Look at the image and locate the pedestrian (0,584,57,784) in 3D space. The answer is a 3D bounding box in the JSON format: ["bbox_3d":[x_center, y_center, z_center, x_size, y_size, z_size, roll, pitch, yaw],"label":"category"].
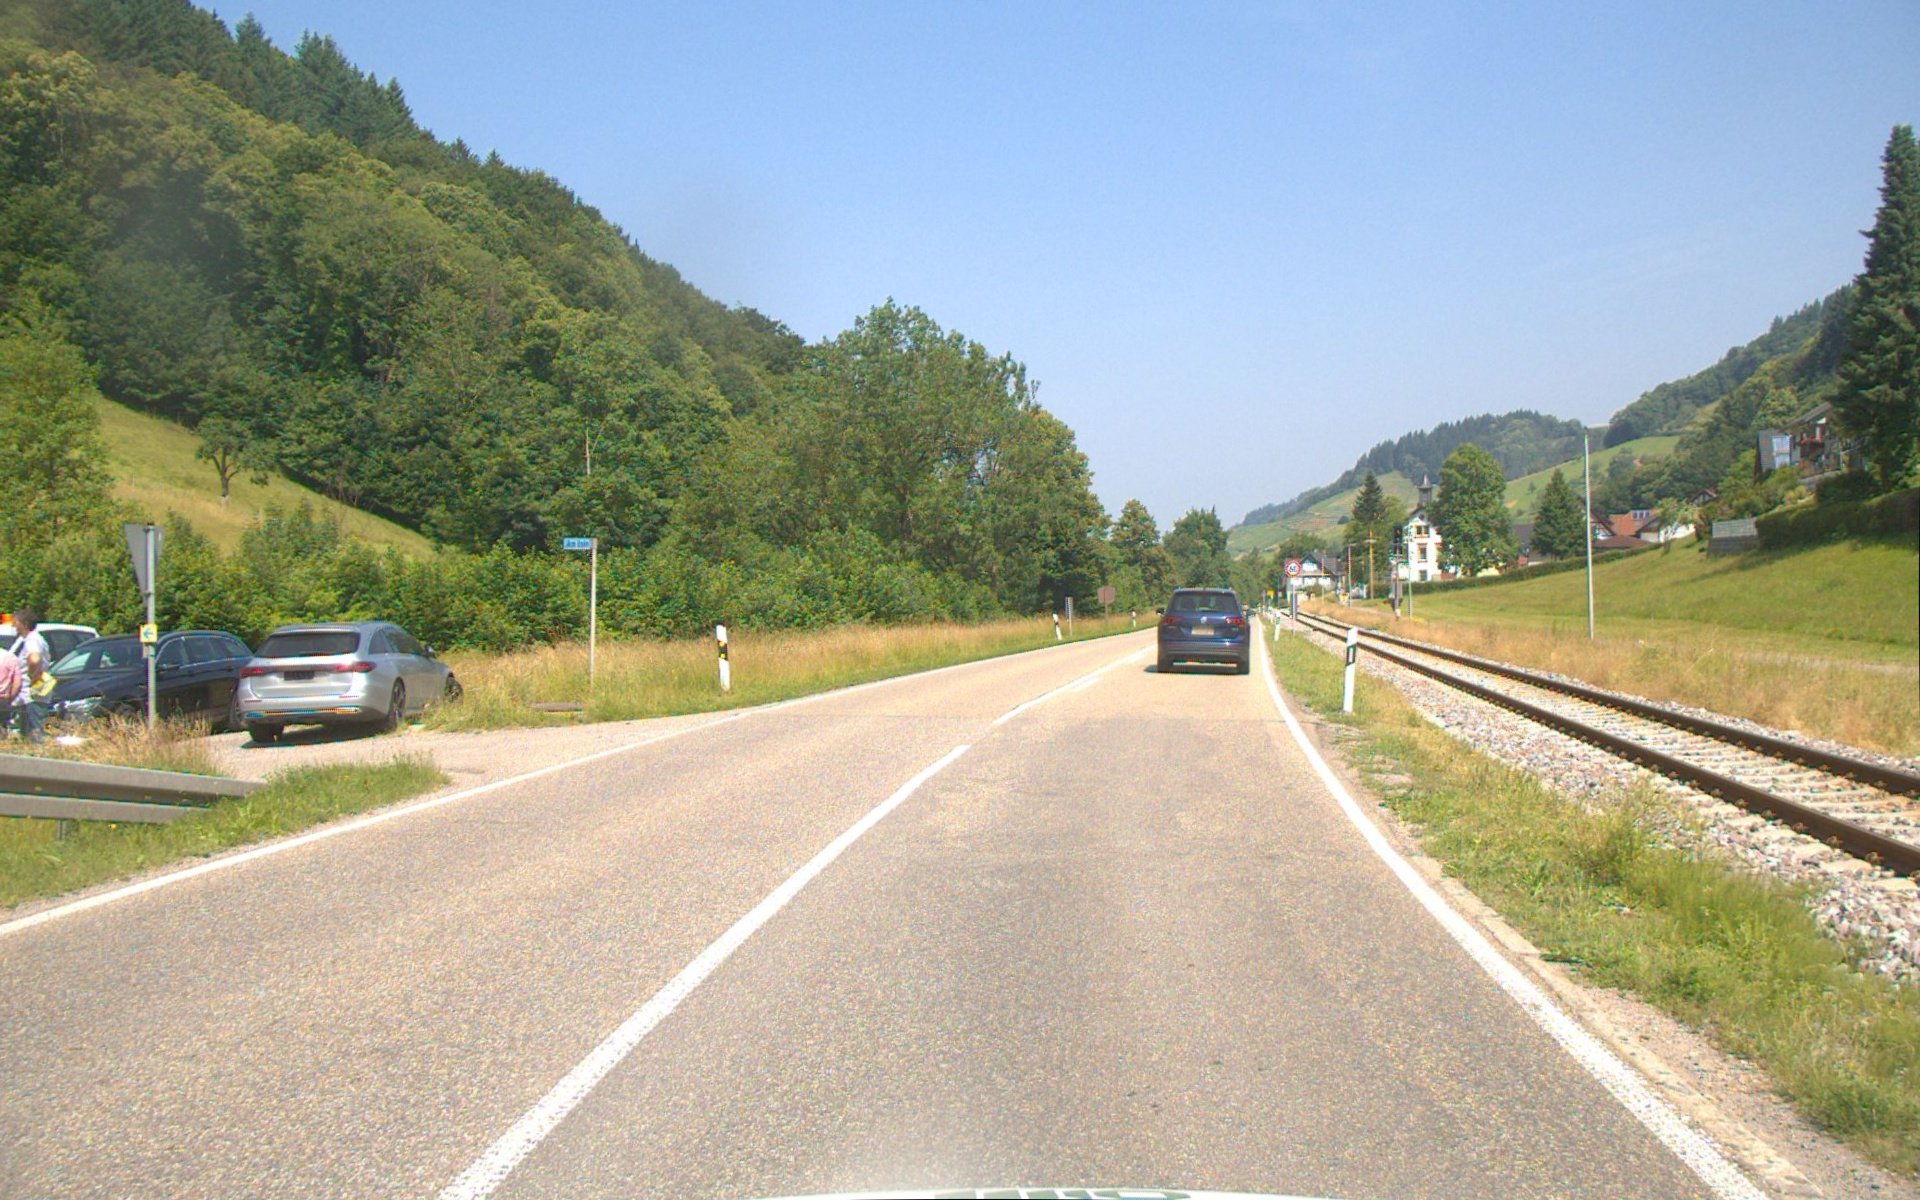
[{"bbox_3d":[-9.721,0.857,16.896,0.648,1.989,0.531,-3,0,-11],"label":"pedestrian"}]

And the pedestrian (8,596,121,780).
[{"bbox_3d":[-9.516,0.927,17.585,0.635,1.891,0.769,-4,-1,33],"label":"pedestrian"}]

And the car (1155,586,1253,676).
[{"bbox_3d":[4.841,0.605,33.108,1.813,1.678,4.143,0,-1,7],"label":"car"}]

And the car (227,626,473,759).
[{"bbox_3d":[-8.177,1.179,22.604,1.789,1.527,4.276,-3,-1,-2],"label":"car"}]

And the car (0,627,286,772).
[{"bbox_3d":[-11.379,1.284,22.517,1.951,1.680,4.625,-4,-1,8],"label":"car"}]

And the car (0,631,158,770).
[{"bbox_3d":[-13.717,1.418,23.772,1.832,1.813,4.773,-2,-1,3],"label":"car"}]

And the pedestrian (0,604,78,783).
[{"bbox_3d":[-10.158,1.002,17.929,0.635,1.872,0.769,-4,-1,32],"label":"pedestrian"}]
